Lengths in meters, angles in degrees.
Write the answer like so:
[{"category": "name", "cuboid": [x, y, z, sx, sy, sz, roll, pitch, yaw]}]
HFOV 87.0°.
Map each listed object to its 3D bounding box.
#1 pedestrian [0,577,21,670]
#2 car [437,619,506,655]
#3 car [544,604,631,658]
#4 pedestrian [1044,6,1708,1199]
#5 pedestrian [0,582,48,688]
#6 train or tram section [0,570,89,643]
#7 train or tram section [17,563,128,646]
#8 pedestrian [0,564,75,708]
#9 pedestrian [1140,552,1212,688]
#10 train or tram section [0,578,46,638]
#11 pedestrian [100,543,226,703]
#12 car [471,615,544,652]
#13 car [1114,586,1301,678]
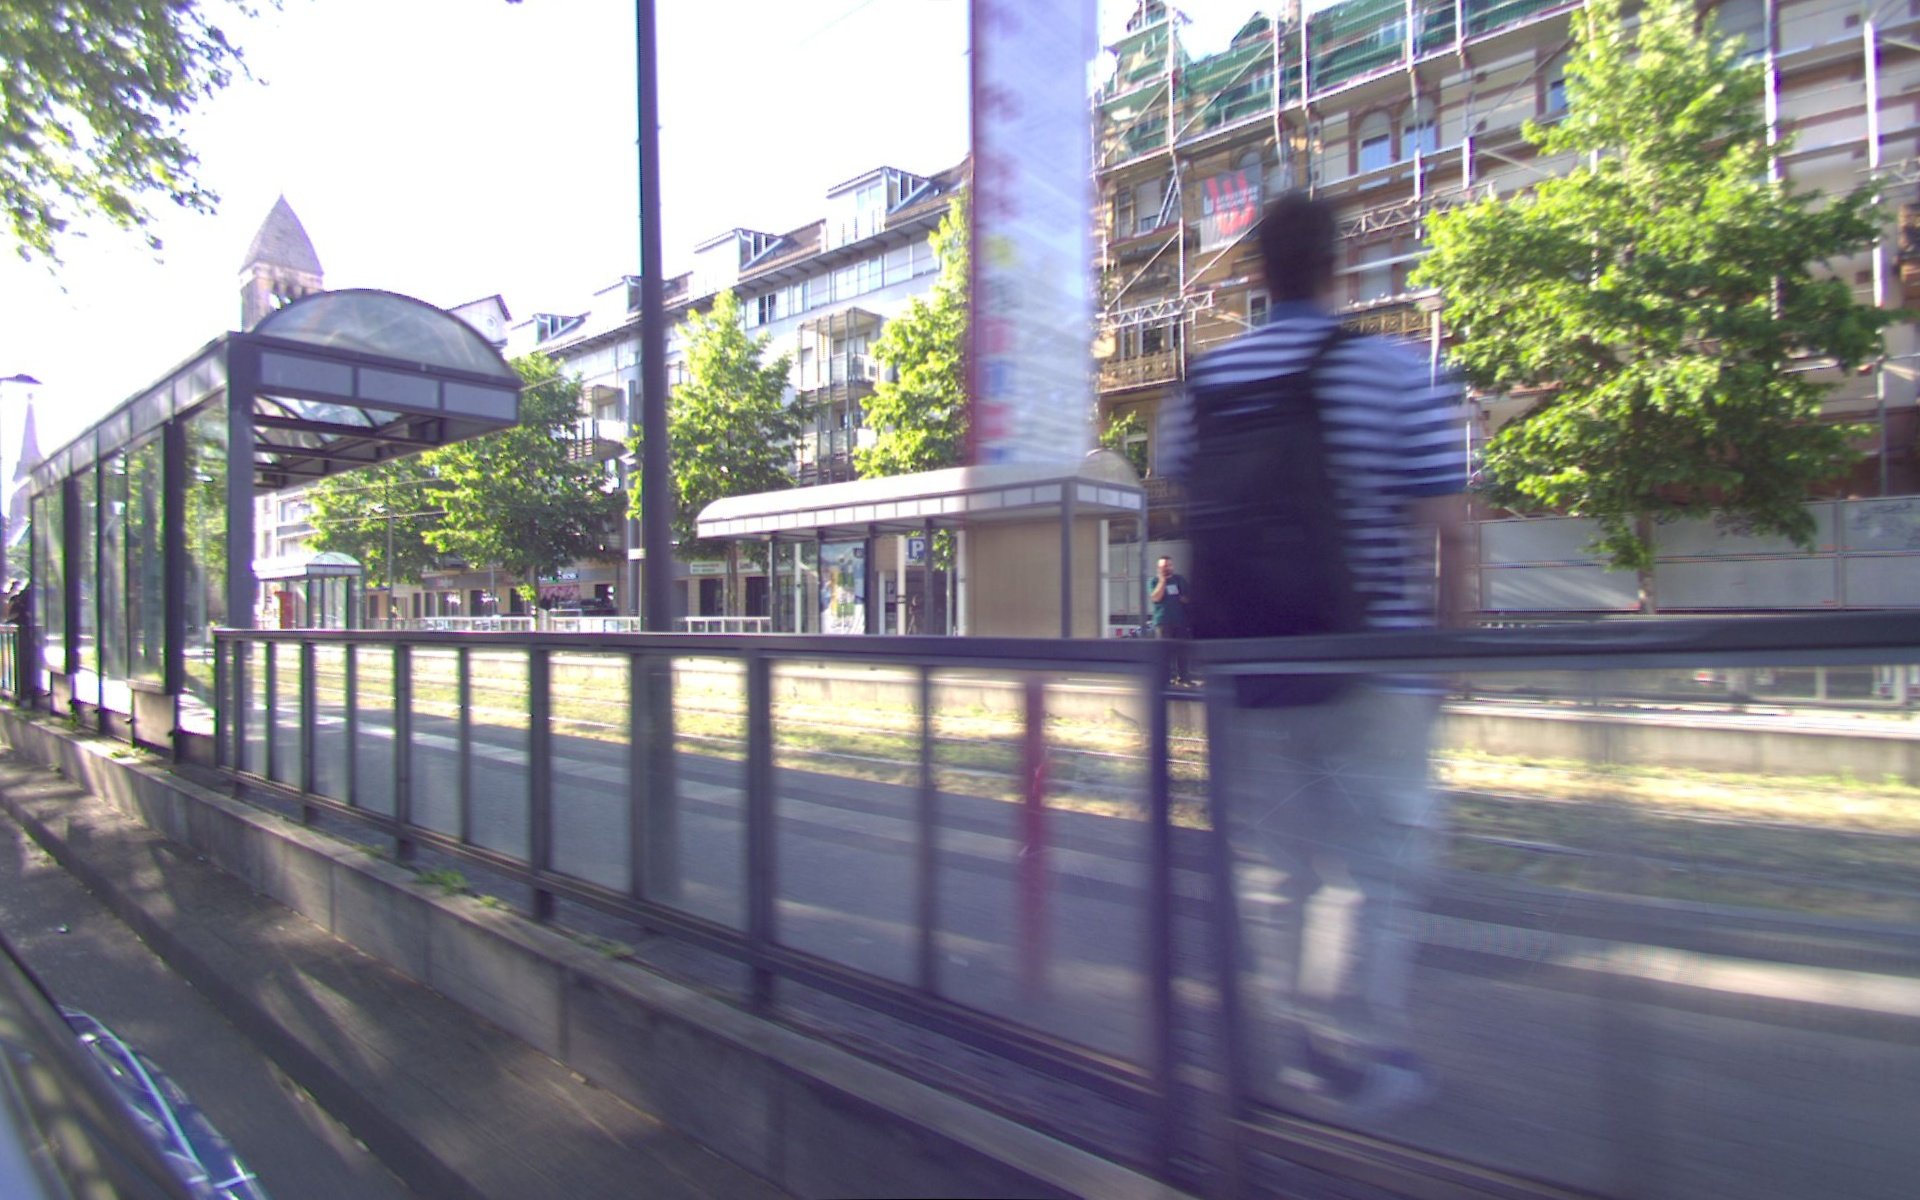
[{"category": "pedestrian", "cuboid": [-18.762, 0.456, 19.549, 0.772, 1.784, 0.777, -1, 1, 41]}, {"category": "car", "cuboid": [-24.978, 1.851, 51.688, 3.782, 1.690, 1.788, -1, 1, 41]}, {"category": "car", "cuboid": [-16.255, 1.303, 44.111, 3.782, 2.182, 1.921, -1, 1, 41]}, {"category": "pedestrian", "cuboid": [0.730, 0.121, 1.796, 0.894, 1.703, 0.672, -1, 1, 41]}, {"category": "pedestrian", "cuboid": [-14.567, 0.527, 15.561, 0.850, 1.573, 0.671, -1, 1, 40]}, {"category": "train or tram section", "cuboid": [-52.828, 0.416, 57.680, 14.553, 3.713, 2.840, -1, -1, 41]}, {"category": "train or tram section", "cuboid": [-43.718, 0.283, 49.712, 9.679, 3.713, 2.840, -1, -1, 41]}, {"category": "pedestrian", "cuboid": [-11.962, 0.441, 12.992, 0.694, 1.772, 0.757, -1, 1, 40]}, {"category": "pedestrian", "cuboid": [2.817, 0.244, 13.173, 0.654, 1.703, 0.672, -1, 1, 39]}, {"category": "train or tram section", "cuboid": [-63.771, 0.581, 67.271, 14.553, 3.703, 2.840, -1, -1, 41]}, {"category": "pedestrian", "cuboid": [-9.083, 0.247, 11.567, 0.624, 1.734, 0.908, -2, 1, 7]}, {"category": "car", "cuboid": [-21.998, 1.591, 49.156, 3.782, 1.648, 1.788, -1, 1, 41]}, {"category": "car", "cuboid": [6.036, 0.734, 24.922, 4.000, 2.029, 1.972, -1, 1, 43]}]
